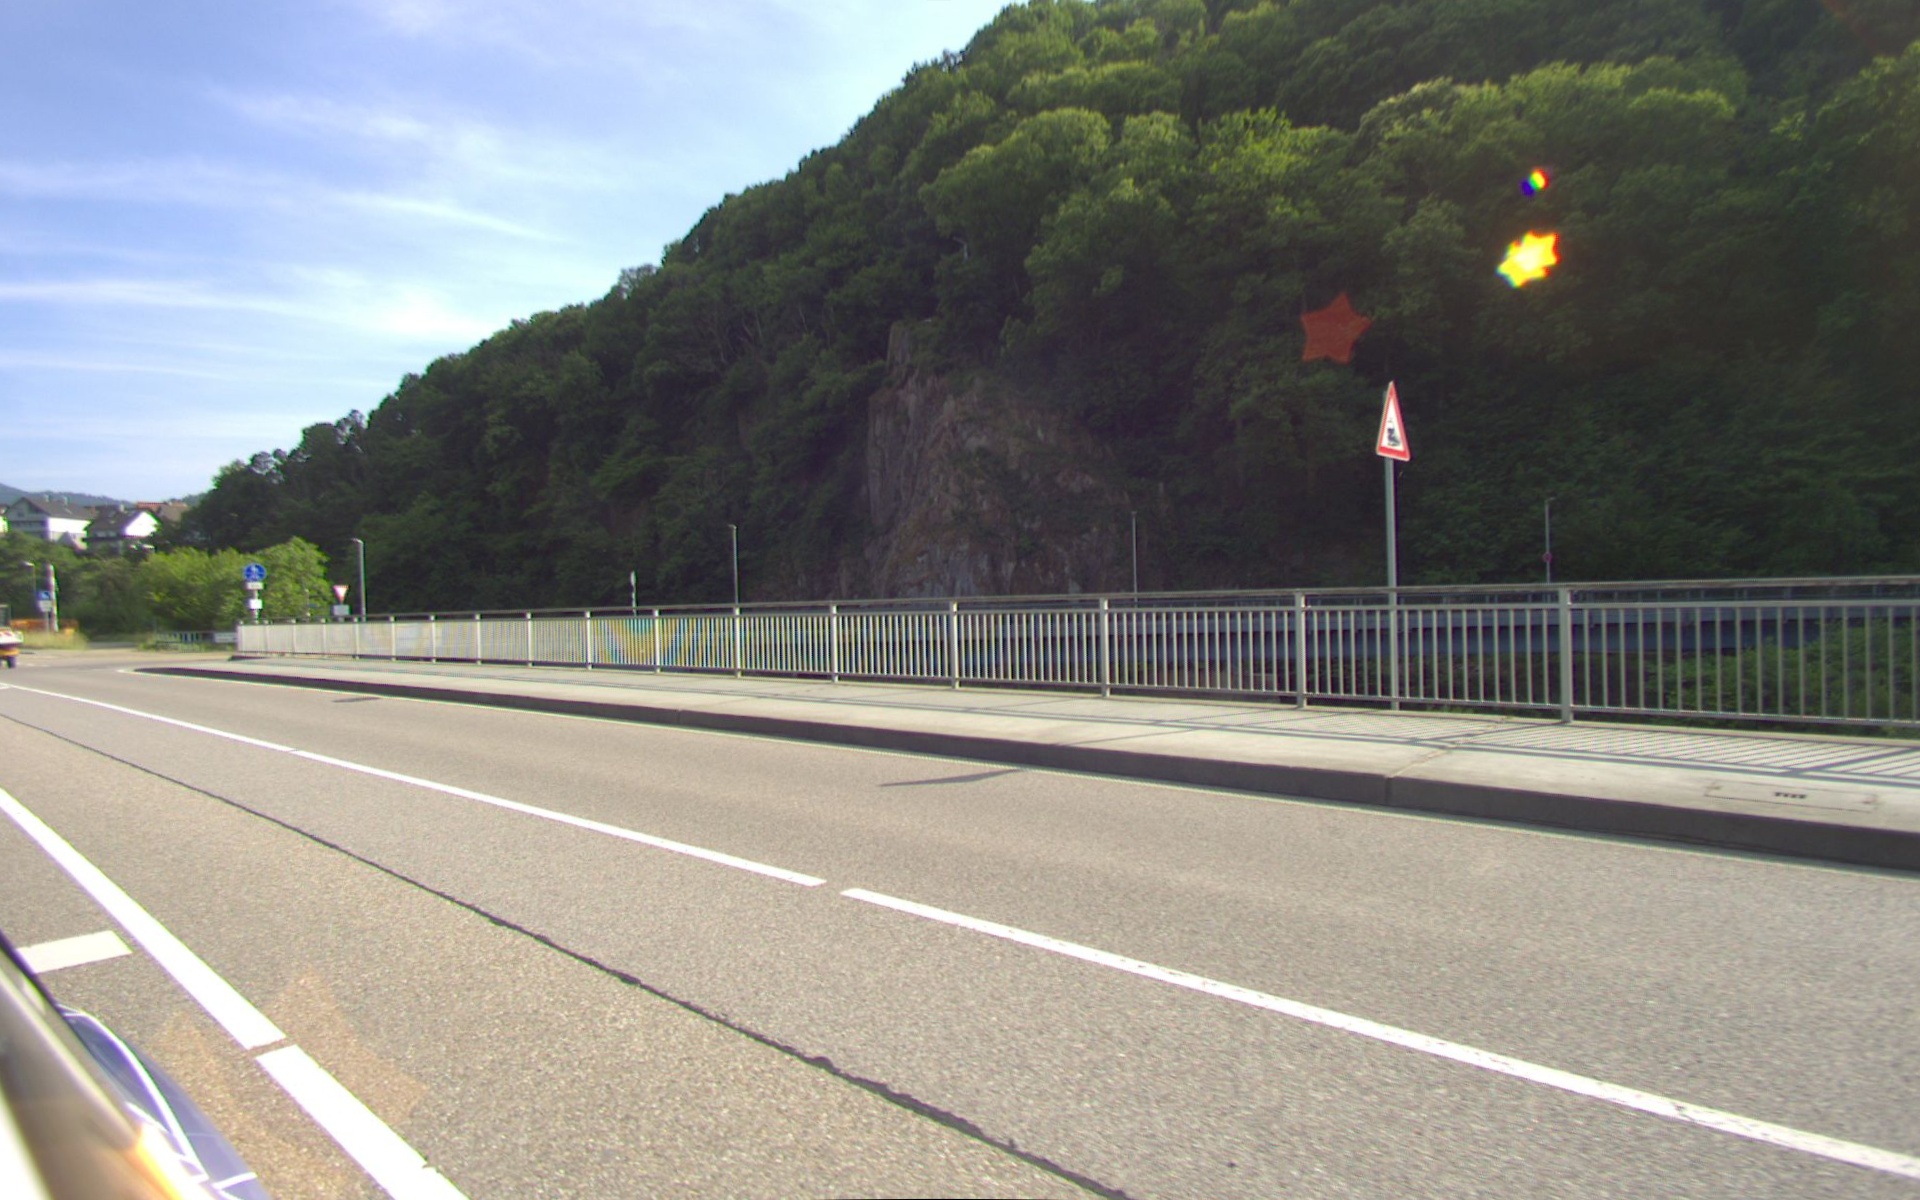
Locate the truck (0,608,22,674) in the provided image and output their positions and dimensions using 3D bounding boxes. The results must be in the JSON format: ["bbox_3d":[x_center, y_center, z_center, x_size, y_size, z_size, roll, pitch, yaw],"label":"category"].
[{"bbox_3d":[-37.877,1.600,38.723,5.849,2.405,2.142,-2,0,40],"label":"truck"}]
